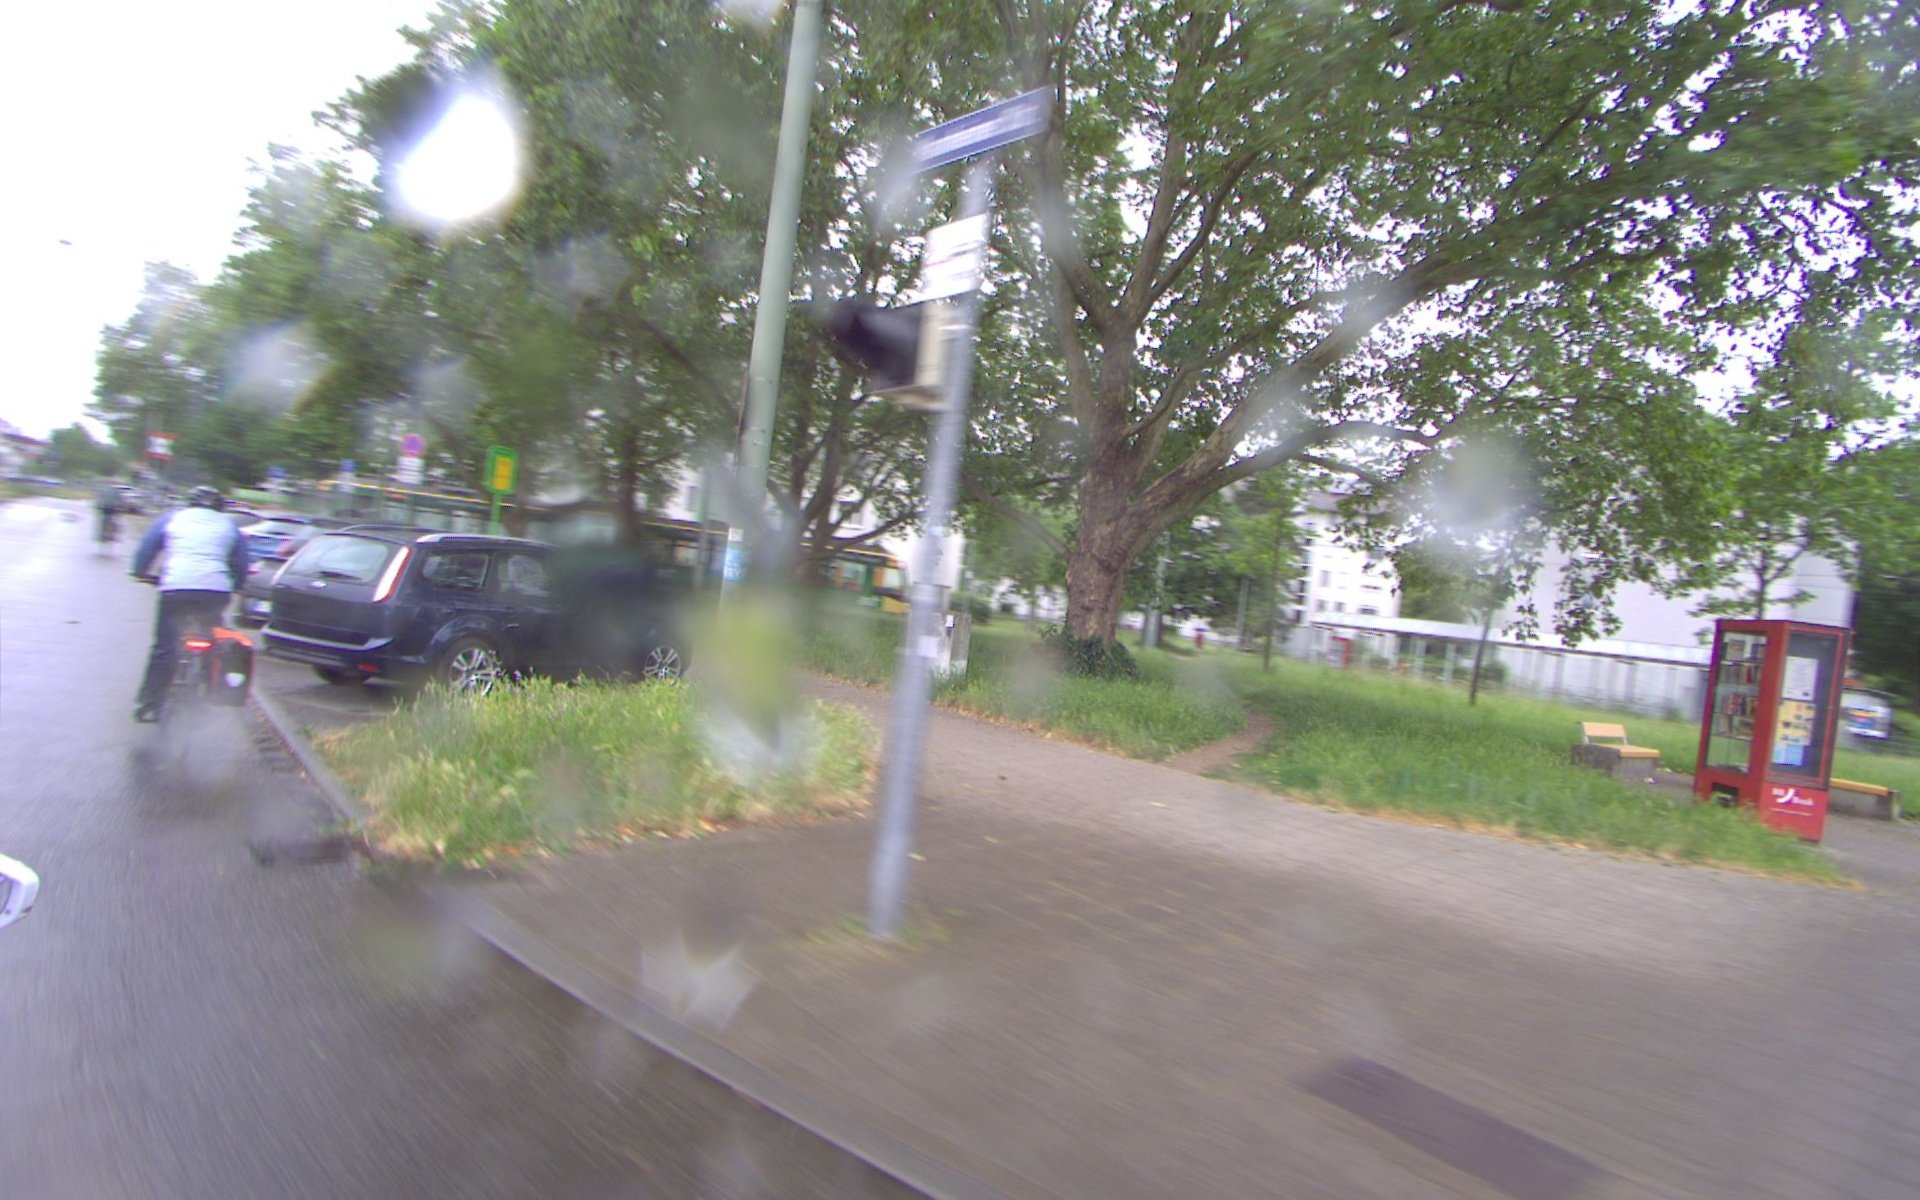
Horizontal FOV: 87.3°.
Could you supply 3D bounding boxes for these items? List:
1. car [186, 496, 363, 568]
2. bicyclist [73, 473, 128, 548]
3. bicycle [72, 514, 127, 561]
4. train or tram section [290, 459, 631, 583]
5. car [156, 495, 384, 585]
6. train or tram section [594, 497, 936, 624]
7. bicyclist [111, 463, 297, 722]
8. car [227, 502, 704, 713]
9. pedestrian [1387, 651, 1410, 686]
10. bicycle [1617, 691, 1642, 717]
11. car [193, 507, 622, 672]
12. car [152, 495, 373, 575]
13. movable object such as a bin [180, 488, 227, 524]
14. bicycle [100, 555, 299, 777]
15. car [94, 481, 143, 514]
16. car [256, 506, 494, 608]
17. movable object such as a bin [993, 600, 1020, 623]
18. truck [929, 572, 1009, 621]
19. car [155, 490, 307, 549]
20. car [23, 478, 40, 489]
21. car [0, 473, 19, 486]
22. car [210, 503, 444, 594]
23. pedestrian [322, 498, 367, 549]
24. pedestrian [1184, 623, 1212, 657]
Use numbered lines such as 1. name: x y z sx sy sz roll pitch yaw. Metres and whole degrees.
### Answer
1. car: -18.394 -1.788 27.168 1.608 1.499 3.594 7 2 23
2. bicyclist: -19.840 -2.057 23.224 0.828 1.578 0.902 5 1 -44
3. bicycle: -19.821 -1.458 23.160 0.818 0.924 1.961 5 1 -44
4. train or tram section: -22.832 -3.596 46.236 14.459 3.633 2.716 7 0 5
5. car: -15.011 -1.245 22.193 1.923 1.573 3.999 6 1 6
6. train or tram section: -8.557 -1.713 44.847 14.459 3.633 2.716 7 0 5
7. bicyclist: -4.843 -0.049 6.438 0.748 1.505 0.835 6 3 -44
8. car: -4.590 0.115 10.143 1.770 1.494 4.177 8 0 19
9. pedestrian: 21.193 3.324 48.614 0.784 1.592 0.629 6 0 -41
10. bicycle: 26.600 4.133 39.970 1.227 0.968 0.374 7 -1 -37
11. car: -6.515 -0.033 12.561 1.771 1.494 4.549 8 0 20
12. car: -16.883 -1.524 24.627 1.831 1.499 4.120 7 2 17
13. movable object such as a bin: -43.307 -5.379 57.589 1.474 1.726 1.552 7 1 25
14. bicycle: -4.959 0.371 6.501 0.750 1.086 1.902 6 2 -44
15. car: -47.761 -5.789 57.066 1.946 1.573 3.953 4 1 -42
16. car: -10.448 -0.714 18.273 1.721 1.526 3.515 6 1 13
17. movable object such as a bin: 4.698 1.135 101.783 1.870 2.038 2.236 6 -1 24
18. truck: 0.623 -0.345 82.530 3.166 3.515 7.096 6 -1 -30
19. car: -26.325 -2.885 36.490 1.962 1.502 3.999 9 1 17
20. car: -165.974 -20.773 179.831 1.985 1.562 3.957 7 -1 -40
21. car: -150.626 -19.061 159.220 1.985 1.562 3.957 7 -1 -40
22. car: -12.698 -1.004 20.501 1.789 1.521 3.996 6 3 9
23. pedestrian: -23.408 -2.908 38.272 1.064 1.736 1.043 8 2 39
24. pedestrian: 14.364 2.437 60.781 1.170 1.906 1.052 6 0 -12
